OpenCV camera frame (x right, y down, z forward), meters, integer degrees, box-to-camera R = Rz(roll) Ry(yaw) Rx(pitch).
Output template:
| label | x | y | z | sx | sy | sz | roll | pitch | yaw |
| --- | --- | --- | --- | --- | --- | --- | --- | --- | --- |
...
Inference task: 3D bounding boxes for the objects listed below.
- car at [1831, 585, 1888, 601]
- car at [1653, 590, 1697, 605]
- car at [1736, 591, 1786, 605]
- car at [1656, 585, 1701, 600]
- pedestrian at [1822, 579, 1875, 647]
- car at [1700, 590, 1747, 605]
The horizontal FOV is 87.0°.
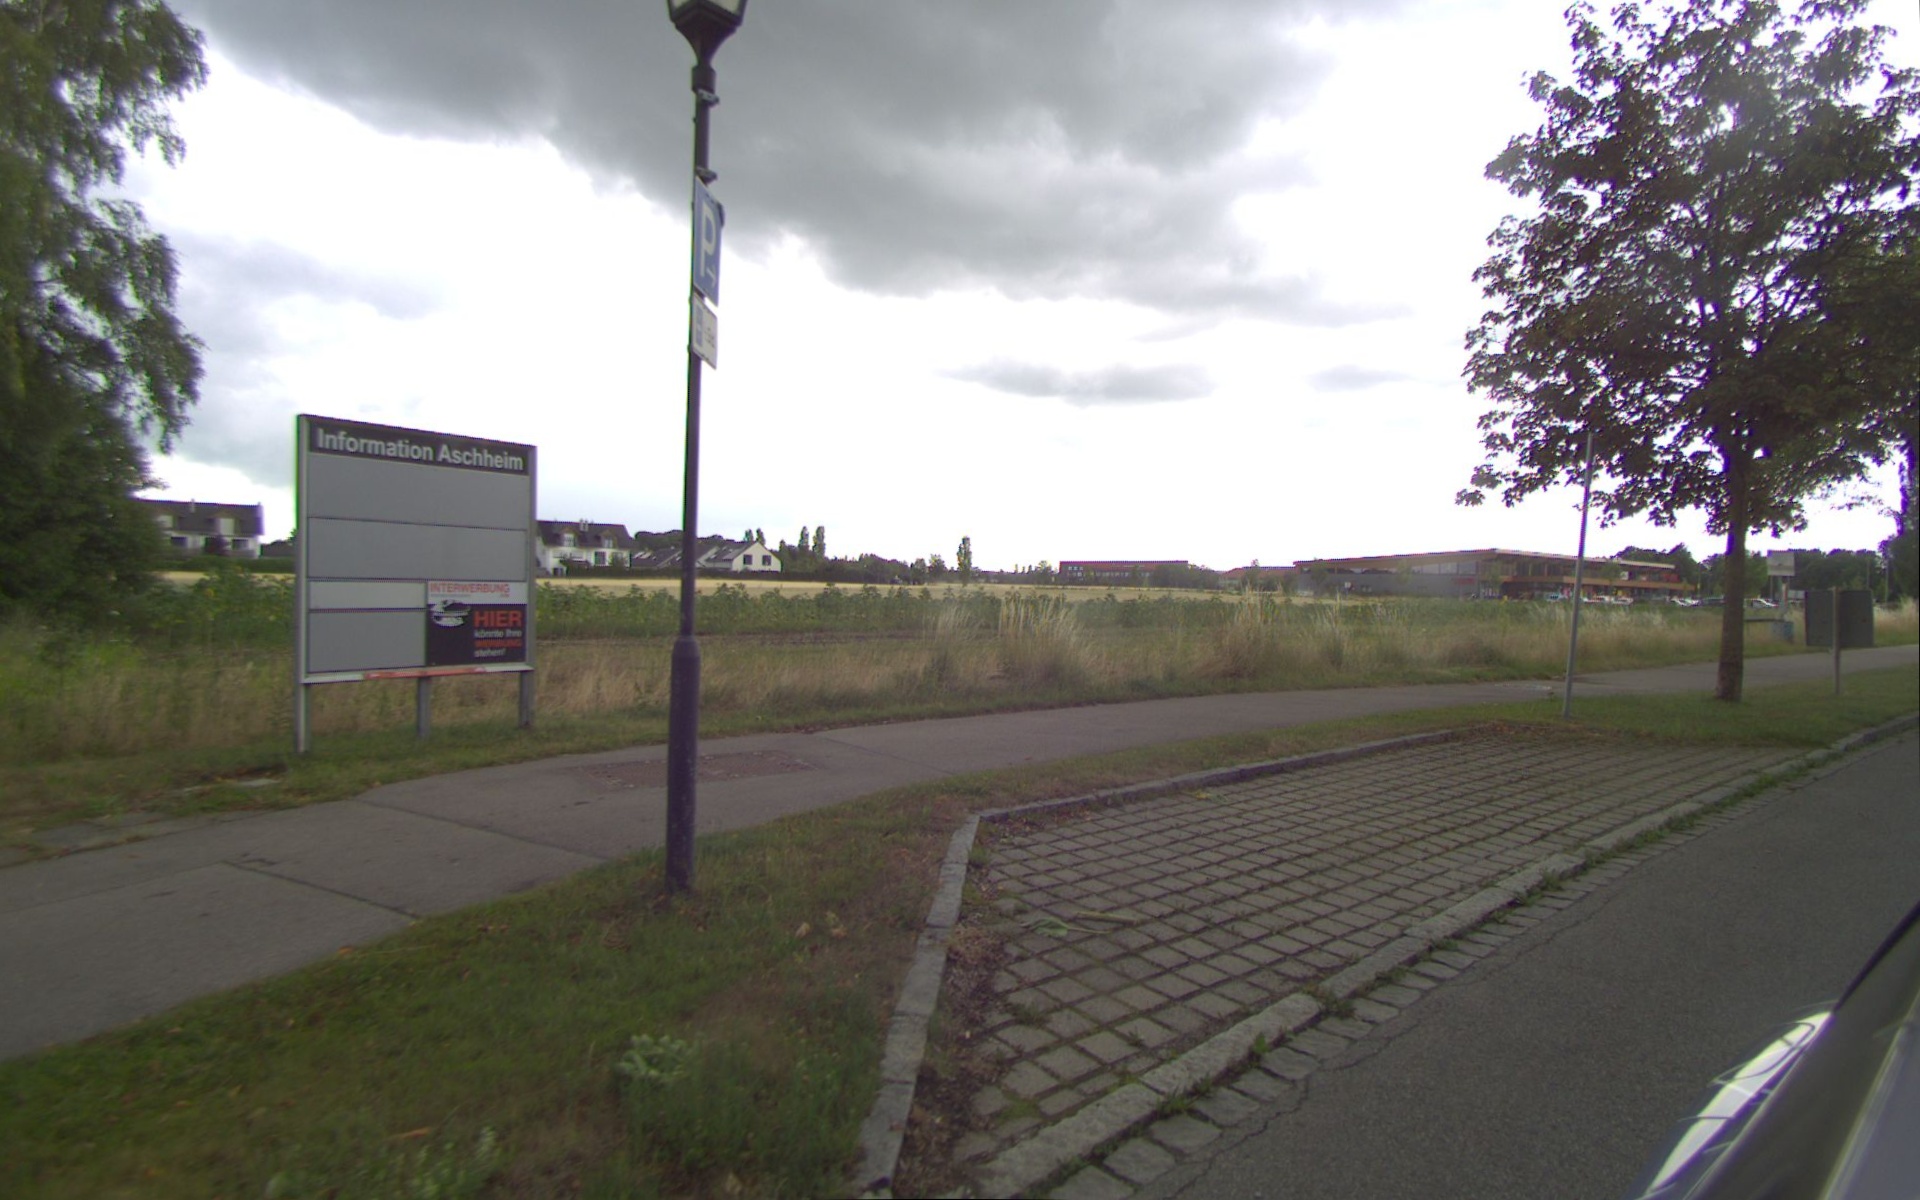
| label | x | y | z | sx | sy | sz | roll | pitch | yaw |
| --- | --- | --- | --- | --- | --- | --- | --- | --- | --- |
| car | 119.907 | -0.922 | 134.989 | 1.966 | 2.039 | 5.517 | 0 | 0 | -42 |
| car | 103.287 | -0.365 | 146.216 | 1.967 | 2.039 | 4.846 | 0 | 0 | -43 |
| car | 116.948 | -0.257 | 147.746 | 1.966 | 2.039 | 5.517 | 0 | 0 | -42 |
| car | 99.799 | -1.056 | 140.590 | 1.967 | 2.039 | 4.846 | 0 | 0 | -43 |
| pedestrian | 23.610 | 0.326 | 26.891 | 0.852 | 1.777 | 0.841 | 0 | 0 | -31 |
| car | 104.691 | -0.379 | 138.810 | 1.967 | 2.039 | 4.846 | 0 | 0 | -43 |
